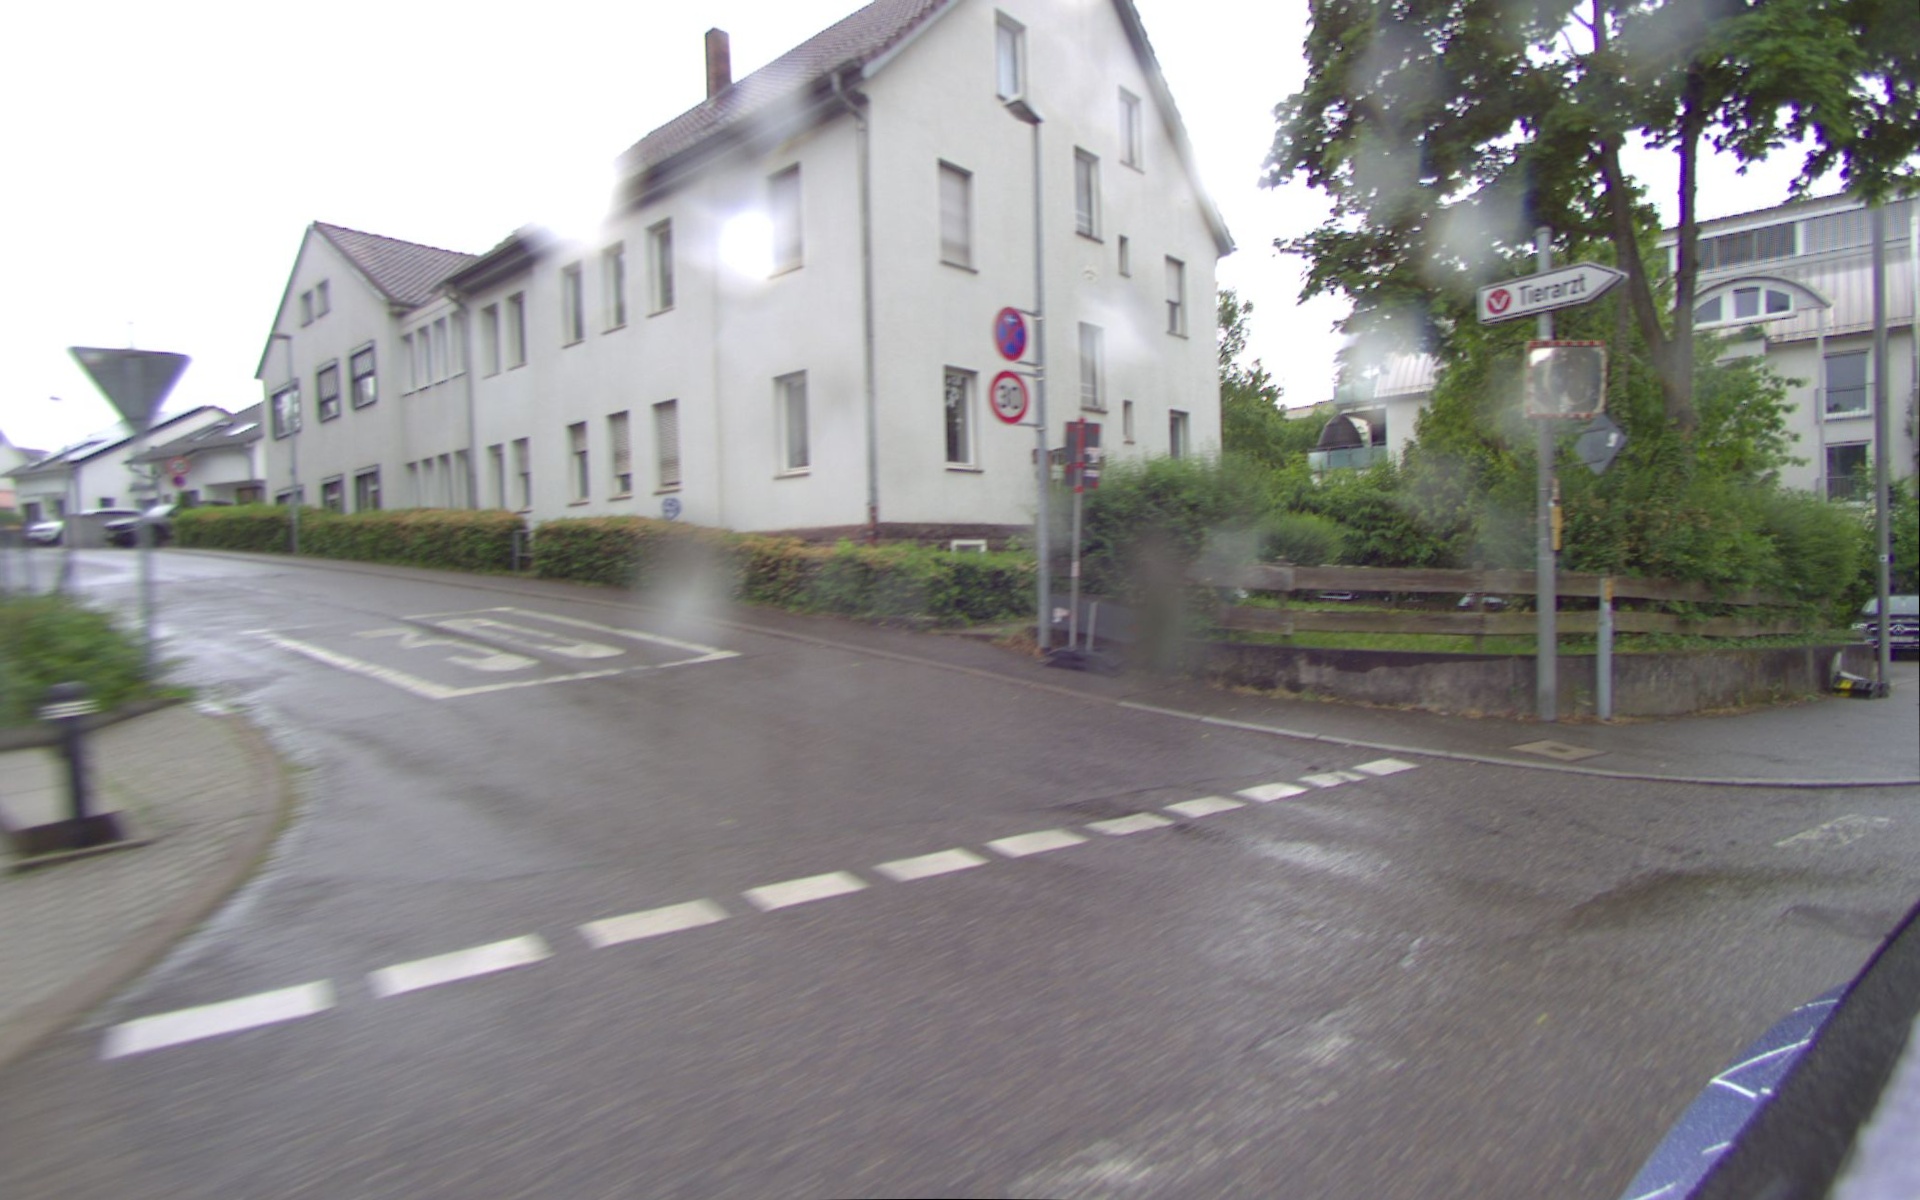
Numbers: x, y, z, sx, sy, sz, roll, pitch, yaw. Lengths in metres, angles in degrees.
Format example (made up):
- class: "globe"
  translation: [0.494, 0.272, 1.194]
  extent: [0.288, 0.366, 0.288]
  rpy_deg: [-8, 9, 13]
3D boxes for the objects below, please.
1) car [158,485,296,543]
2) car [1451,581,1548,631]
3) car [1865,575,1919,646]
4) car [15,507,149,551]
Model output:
- class: "car"
  translation: [-28.940, -3.340, 40.060]
  extent: [1.986, 2.038, 3.954]
  rpy_deg: [-1, 2, 33]
- class: "car"
  translation: [16.500, 0.156, 30.875]
  extent: [1.759, 1.453, 3.266]
  rpy_deg: [1, 1, 45]
- class: "car"
  translation: [23.405, 0.224, 24.537]
  extent: [4.649, 1.590, 1.781]
  rpy_deg: [-1, -2, -44]
- class: "car"
  translation: [-38.400, -3.078, 44.368]
  extent: [1.978, 1.726, 3.969]
  rpy_deg: [-1, 2, 24]
